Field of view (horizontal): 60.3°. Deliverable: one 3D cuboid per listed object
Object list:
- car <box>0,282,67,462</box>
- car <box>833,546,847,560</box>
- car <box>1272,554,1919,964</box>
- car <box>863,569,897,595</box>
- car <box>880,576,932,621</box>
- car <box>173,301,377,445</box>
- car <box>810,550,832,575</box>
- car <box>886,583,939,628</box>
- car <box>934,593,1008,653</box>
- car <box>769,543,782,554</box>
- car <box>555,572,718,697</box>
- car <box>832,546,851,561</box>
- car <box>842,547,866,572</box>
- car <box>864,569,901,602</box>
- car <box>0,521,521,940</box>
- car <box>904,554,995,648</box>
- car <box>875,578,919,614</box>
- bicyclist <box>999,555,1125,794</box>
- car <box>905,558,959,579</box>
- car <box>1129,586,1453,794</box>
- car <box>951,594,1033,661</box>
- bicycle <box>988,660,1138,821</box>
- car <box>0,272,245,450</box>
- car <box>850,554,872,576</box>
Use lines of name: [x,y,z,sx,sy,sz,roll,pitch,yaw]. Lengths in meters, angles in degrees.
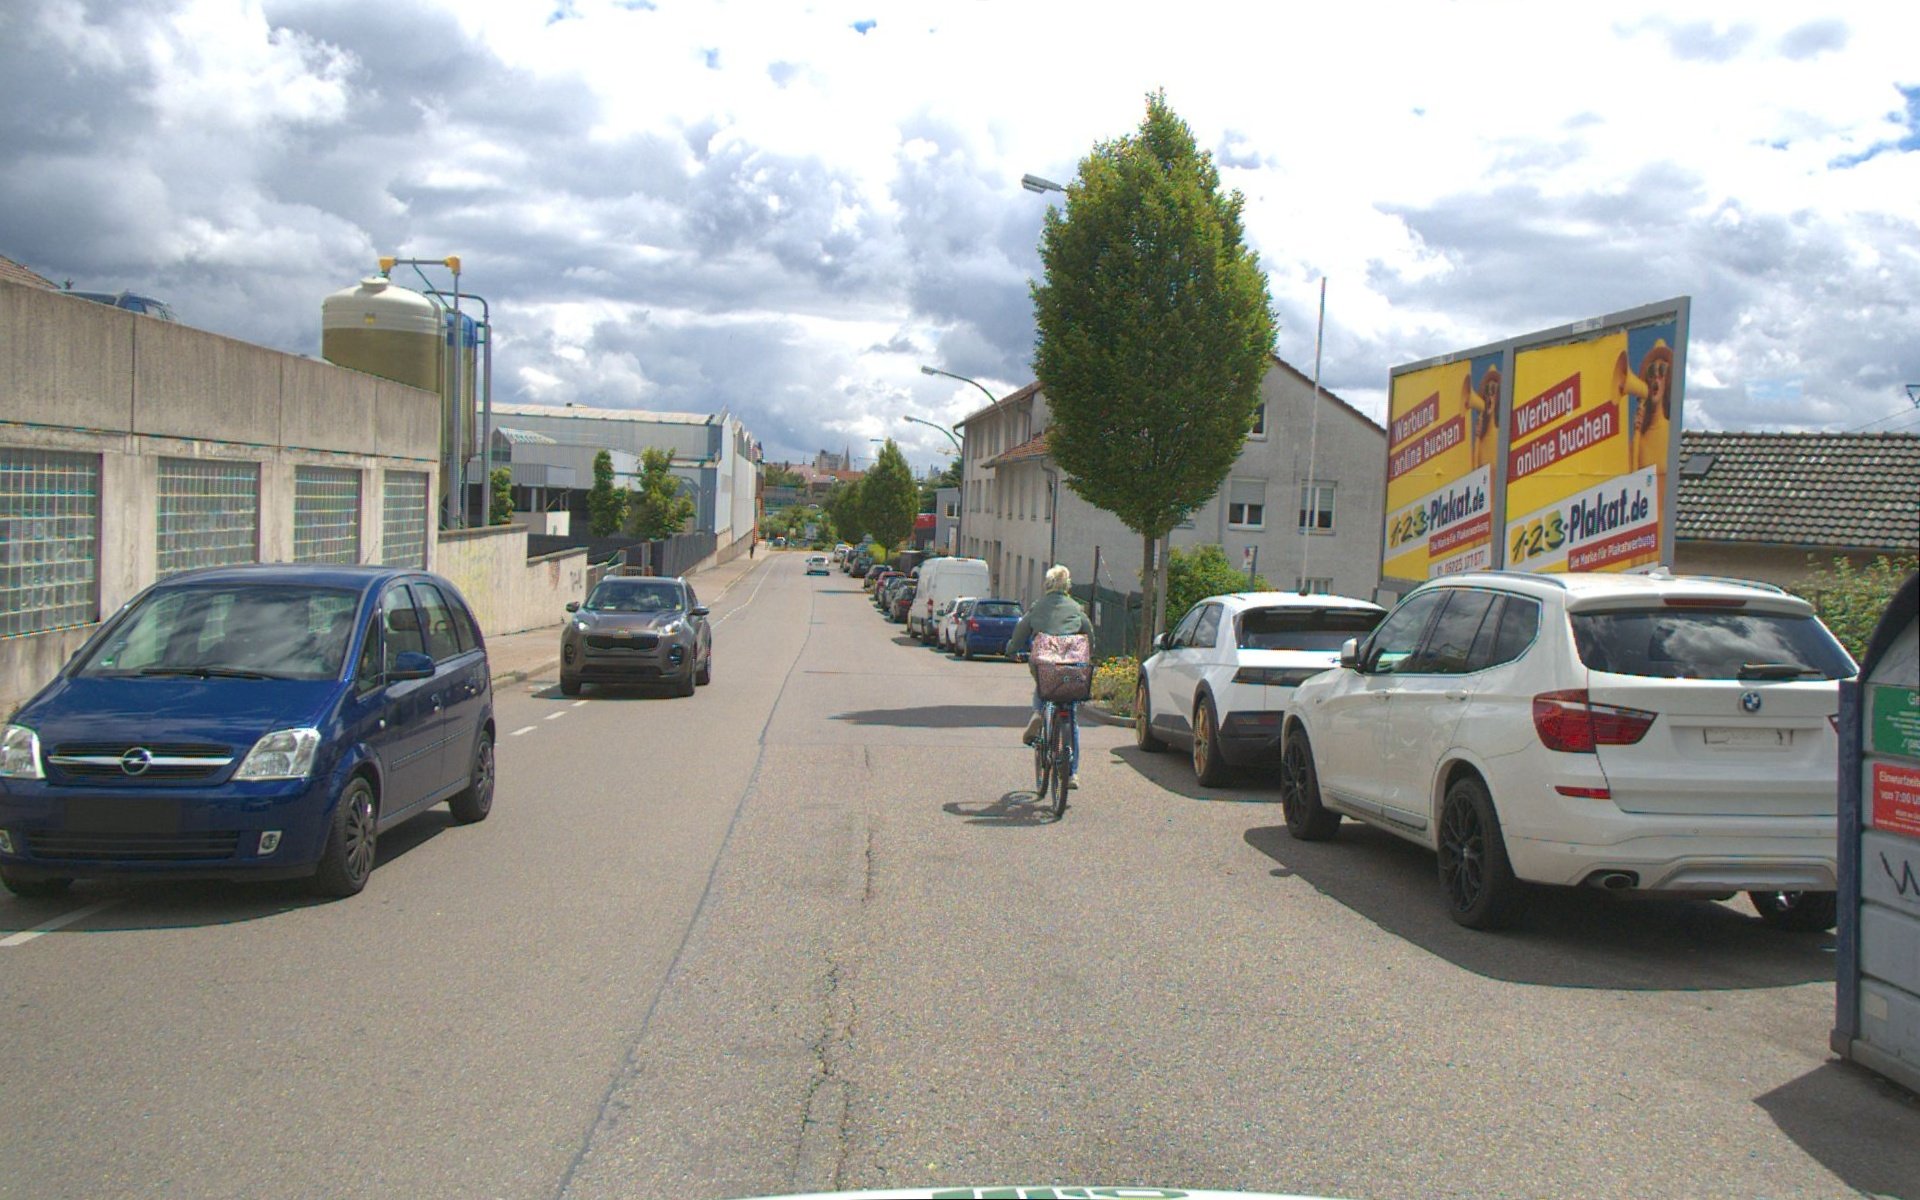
car: [-10.391,-2.352,15.698,1.770,1.665,4.101,2,0,-4]
car: [-14.363,-5.670,198.262,1.668,1.554,3.735,2,1,-4]
car: [3.155,0.675,9.164,1.652,1.688,4.475,1,0,-5]
car: [-4.969,-1.139,102.424,1.757,1.491,4.702,2,1,-7]
car: [-2.454,-0.107,74.248,1.646,1.666,4.787,4,2,-9]
car: [-10.898,-3.566,26.644,1.770,1.665,4.101,2,0,-4]
car: [-10.841,-2.877,128.816,1.537,1.817,3.601,2,0,-6]
car: [-2.020,0.195,68.691,1.672,1.535,5.081,4,2,-7]
car: [0.278,0.618,46.359,1.562,1.536,3.784,2,0,-7]
car: [-28.236,-7.932,253.413,1.817,1.512,3.995,2,0,-6]
car: [-4.625,0.460,24.161,1.764,1.650,4.090,1,0,-3]
car: [-13.422,-5.257,187.530,1.670,1.553,3.731,5,1,-9]
car: [-9.256,-3.547,143.684,1.833,2.024,5.138,2,1,-6]
car: [-4.052,-0.759,86.443,1.701,1.497,4.258,3,2,-5]
car: [-3.720,0.587,9.258,1.593,1.849,3.779,1,0,-2]
car: [-0.416,0.024,52.505,1.994,2.687,7.272,2,0,-7]
car: [-3.055,-0.210,79.795,1.702,1.448,4.855,3,2,-7]
bicyclist: [0.725,0.528,11.974,0.726,1.655,0.730,2,0,-8]
car: [-2.109,-2.365,122.993,1.712,1.488,4.009,-3,3,-44]
car: [2.779,0.701,14.953,1.805,1.593,4.462,0,0,-3]
car: [0.762,0.663,41.539,1.537,1.536,4.089,2,0,-6]
bicycle: [0.706,0.970,11.919,0.726,0.992,1.729,2,0,-8]
car: [-10.969,-3.003,21.487,1.770,1.665,4.101,2,0,-4]
car: [-7.750,-2.731,128.950,1.646,1.666,4.120,2,1,-4]
